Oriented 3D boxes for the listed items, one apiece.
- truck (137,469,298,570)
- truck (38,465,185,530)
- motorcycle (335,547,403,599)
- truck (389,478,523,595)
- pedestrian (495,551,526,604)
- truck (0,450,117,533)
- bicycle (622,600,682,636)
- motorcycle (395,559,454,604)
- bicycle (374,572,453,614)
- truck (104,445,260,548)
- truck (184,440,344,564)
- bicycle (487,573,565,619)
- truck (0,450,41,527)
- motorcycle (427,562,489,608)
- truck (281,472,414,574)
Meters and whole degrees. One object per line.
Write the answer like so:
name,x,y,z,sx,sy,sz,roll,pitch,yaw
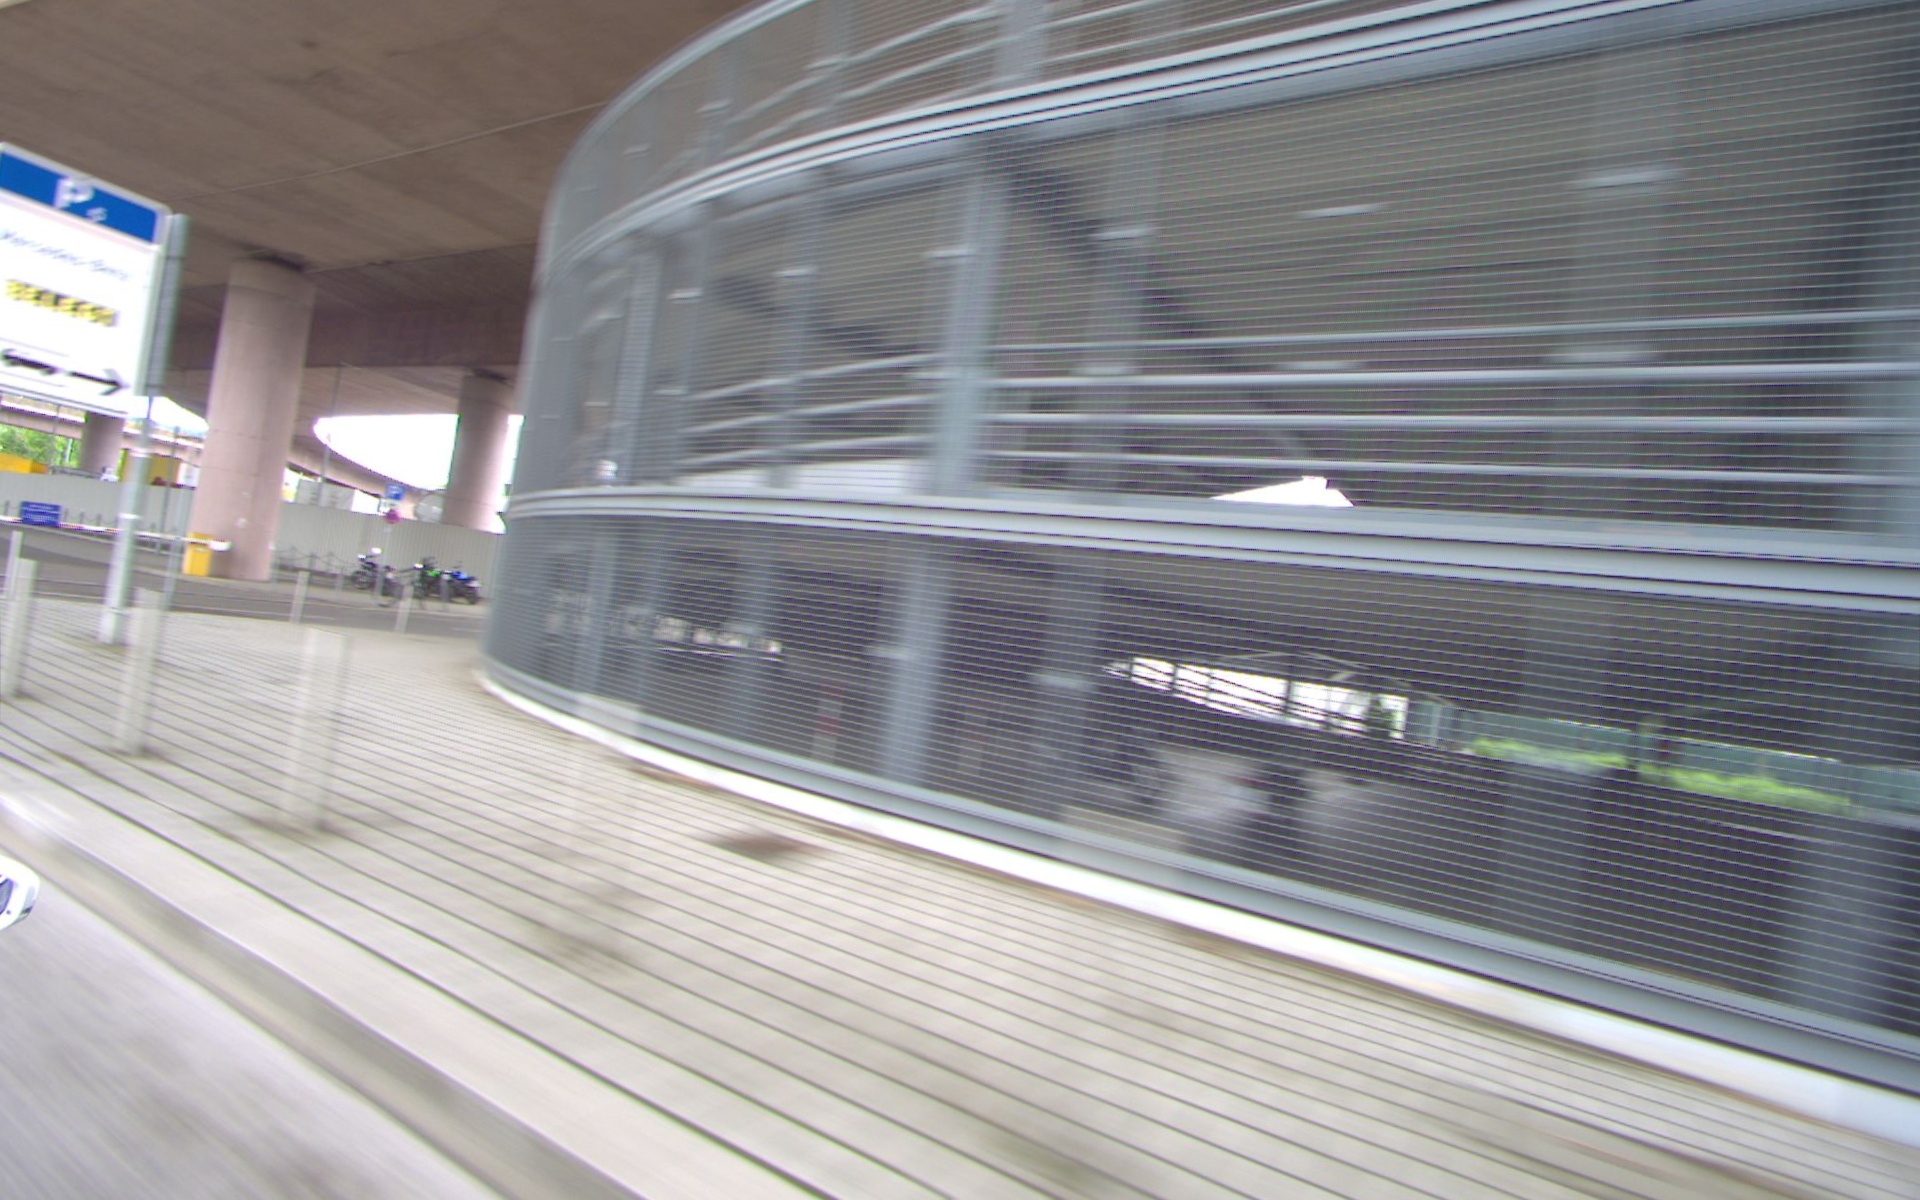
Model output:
truck,-38.919,-4.016,53.296,2.853,4.233,10.039,7,-1,-14
truck,-51.737,-6.136,61.703,3.096,2.981,8.693,5,0,-13
motorcycle,-18.247,-0.855,31.026,2.497,1.250,0.782,9,1,37
truck,-22.783,-2.623,46.189,2.966,4.354,10.269,7,-1,-14
pedestrian,-16.507,-0.823,36.950,0.499,1.848,0.642,7,-1,38
truck,-69.316,-8.127,77.203,3.100,4.958,8.697,8,-2,-14
bicycle,-10.897,0.647,35.633,0.390,1.035,2.057,8,-2,38
motorcycle,-17.442,-0.603,32.717,2.291,1.118,0.543,10,0,34
bicycle,-15.257,-0.181,28.156,0.411,0.936,2.020,9,-2,24
truck,-43.127,-5.522,56.274,3.100,4.496,9.696,7,-1,-16
truck,-34.622,-4.615,50.618,3.100,4.982,9.696,7,-1,-16
bicycle,-15.136,-0.138,35.124,2.298,1.118,0.618,11,1,-18
truck,-66.960,-7.975,67.786,3.100,4.973,8.697,8,-2,-14
motorcycle,-16.779,-0.514,33.612,2.290,1.119,0.573,12,1,31
truck,-31.081,-3.709,51.599,2.771,4.208,9.900,7,-1,-15
